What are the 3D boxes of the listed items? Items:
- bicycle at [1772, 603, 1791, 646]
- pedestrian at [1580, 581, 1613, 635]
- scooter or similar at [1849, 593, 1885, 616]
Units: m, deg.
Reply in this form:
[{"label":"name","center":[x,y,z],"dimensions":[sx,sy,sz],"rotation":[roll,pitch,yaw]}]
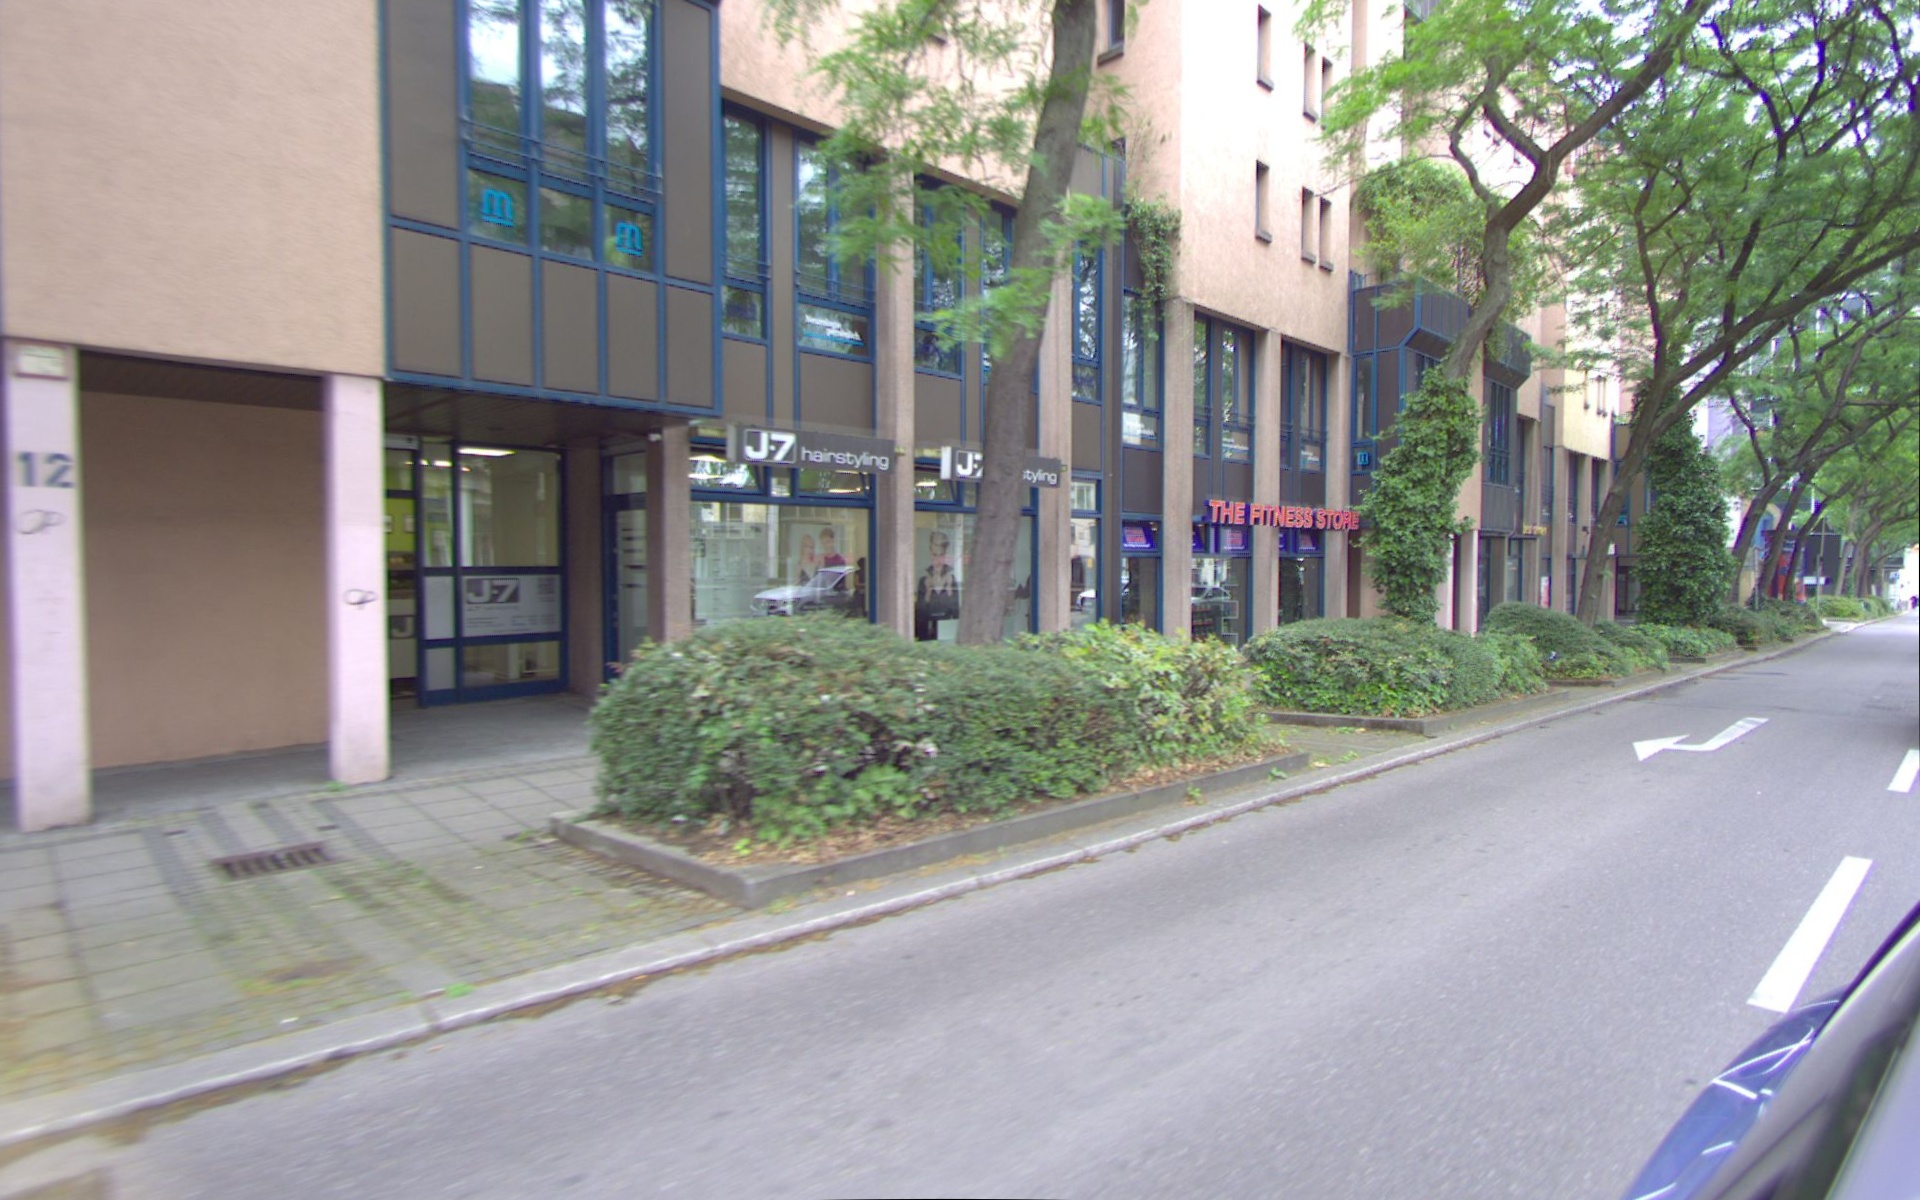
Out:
[{"label":"bicycle","center":[24.367,0.724,30.033],"dimensions":[0.360,1.216,1.549],"rotation":[1,1,37]},{"label":"pedestrian","center":[20.807,0.246,33.095],"dimensions":[0.675,1.733,0.711],"rotation":[1,0,-37]},{"label":"scooter or similar","center":[56.985,0.296,63.595],"dimensions":[1.512,1.452,0.685],"rotation":[0,0,16]}]
